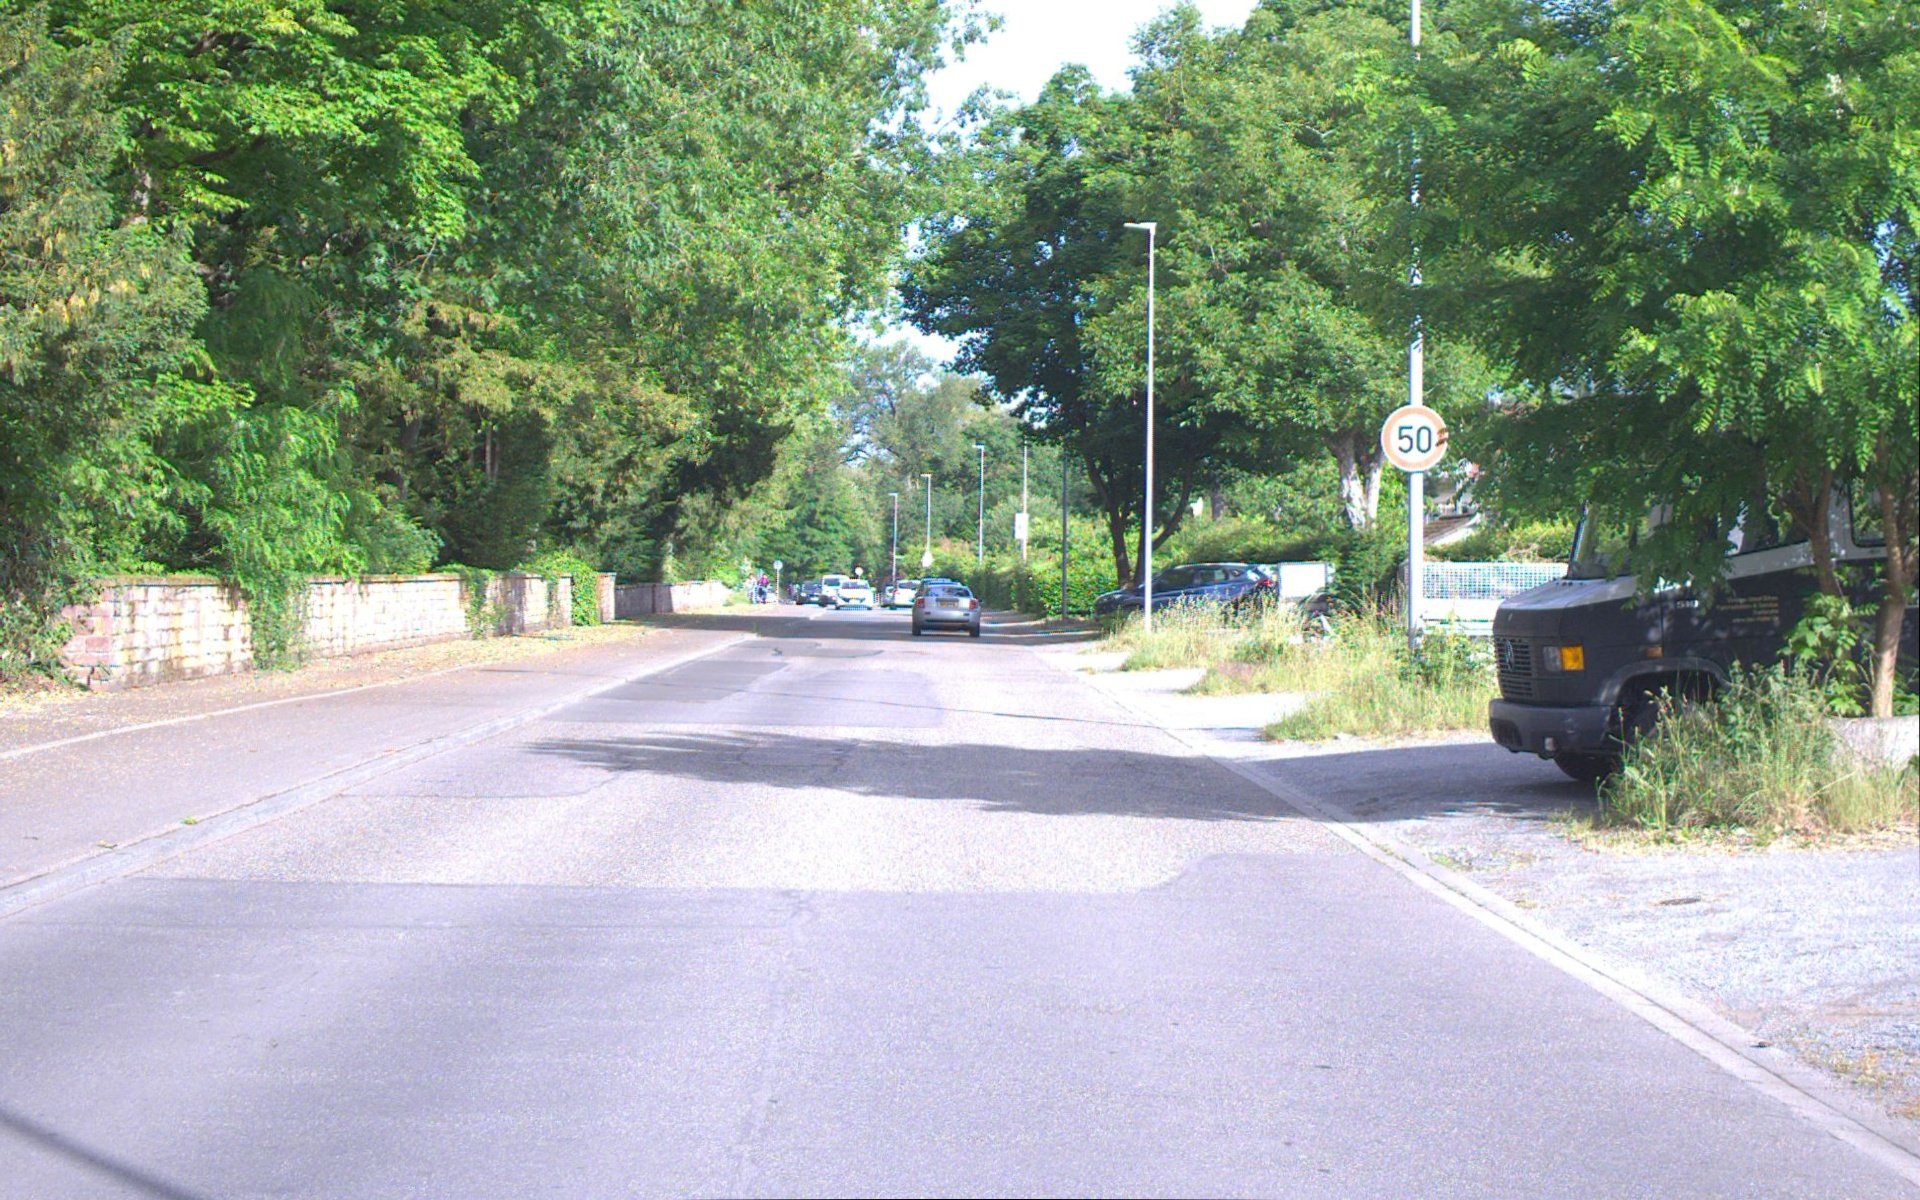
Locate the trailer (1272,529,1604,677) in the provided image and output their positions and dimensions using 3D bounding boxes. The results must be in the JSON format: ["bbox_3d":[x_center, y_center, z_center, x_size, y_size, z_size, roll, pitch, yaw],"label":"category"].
[{"bbox_3d":[6.255,0.049,45.337,4.152,1.829,1.916,1,-1,3],"label":"trailer"}]

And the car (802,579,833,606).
[{"bbox_3d":[-9.259,-0.465,223.927,1.886,1.608,4.054,2,-1,-2],"label":"car"}]

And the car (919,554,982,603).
[{"bbox_3d":[-0.338,-0.696,113.613,1.886,1.460,4.054,2,-1,-2],"label":"car"}]

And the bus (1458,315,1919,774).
[{"bbox_3d":[6.074,-0.304,21.973,5.364,2.737,2.069,1,0,-4],"label":"bus"}]

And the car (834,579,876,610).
[{"bbox_3d":[-5.071,-0.254,165.621,1.886,1.368,4.055,2,-1,-3],"label":"car"}]

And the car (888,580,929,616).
[{"bbox_3d":[-2.529,-0.082,169.119,1.886,1.608,4.054,2,-1,-2],"label":"car"}]

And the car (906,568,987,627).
[{"bbox_3d":[-0.376,-0.052,87.644,1.886,1.368,4.054,2,-1,-2],"label":"car"}]

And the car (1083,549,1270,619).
[{"bbox_3d":[5.248,-0.384,83.695,4.403,1.641,2.000,0,-1,0],"label":"car"}]

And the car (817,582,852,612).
[{"bbox_3d":[-7.112,-0.161,195.160,1.886,1.608,4.054,2,-1,-2],"label":"car"}]

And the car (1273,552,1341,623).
[{"bbox_3d":[8.272,-0.265,81.697,1.351,1.627,4.110,0,-1,9],"label":"car"}]
